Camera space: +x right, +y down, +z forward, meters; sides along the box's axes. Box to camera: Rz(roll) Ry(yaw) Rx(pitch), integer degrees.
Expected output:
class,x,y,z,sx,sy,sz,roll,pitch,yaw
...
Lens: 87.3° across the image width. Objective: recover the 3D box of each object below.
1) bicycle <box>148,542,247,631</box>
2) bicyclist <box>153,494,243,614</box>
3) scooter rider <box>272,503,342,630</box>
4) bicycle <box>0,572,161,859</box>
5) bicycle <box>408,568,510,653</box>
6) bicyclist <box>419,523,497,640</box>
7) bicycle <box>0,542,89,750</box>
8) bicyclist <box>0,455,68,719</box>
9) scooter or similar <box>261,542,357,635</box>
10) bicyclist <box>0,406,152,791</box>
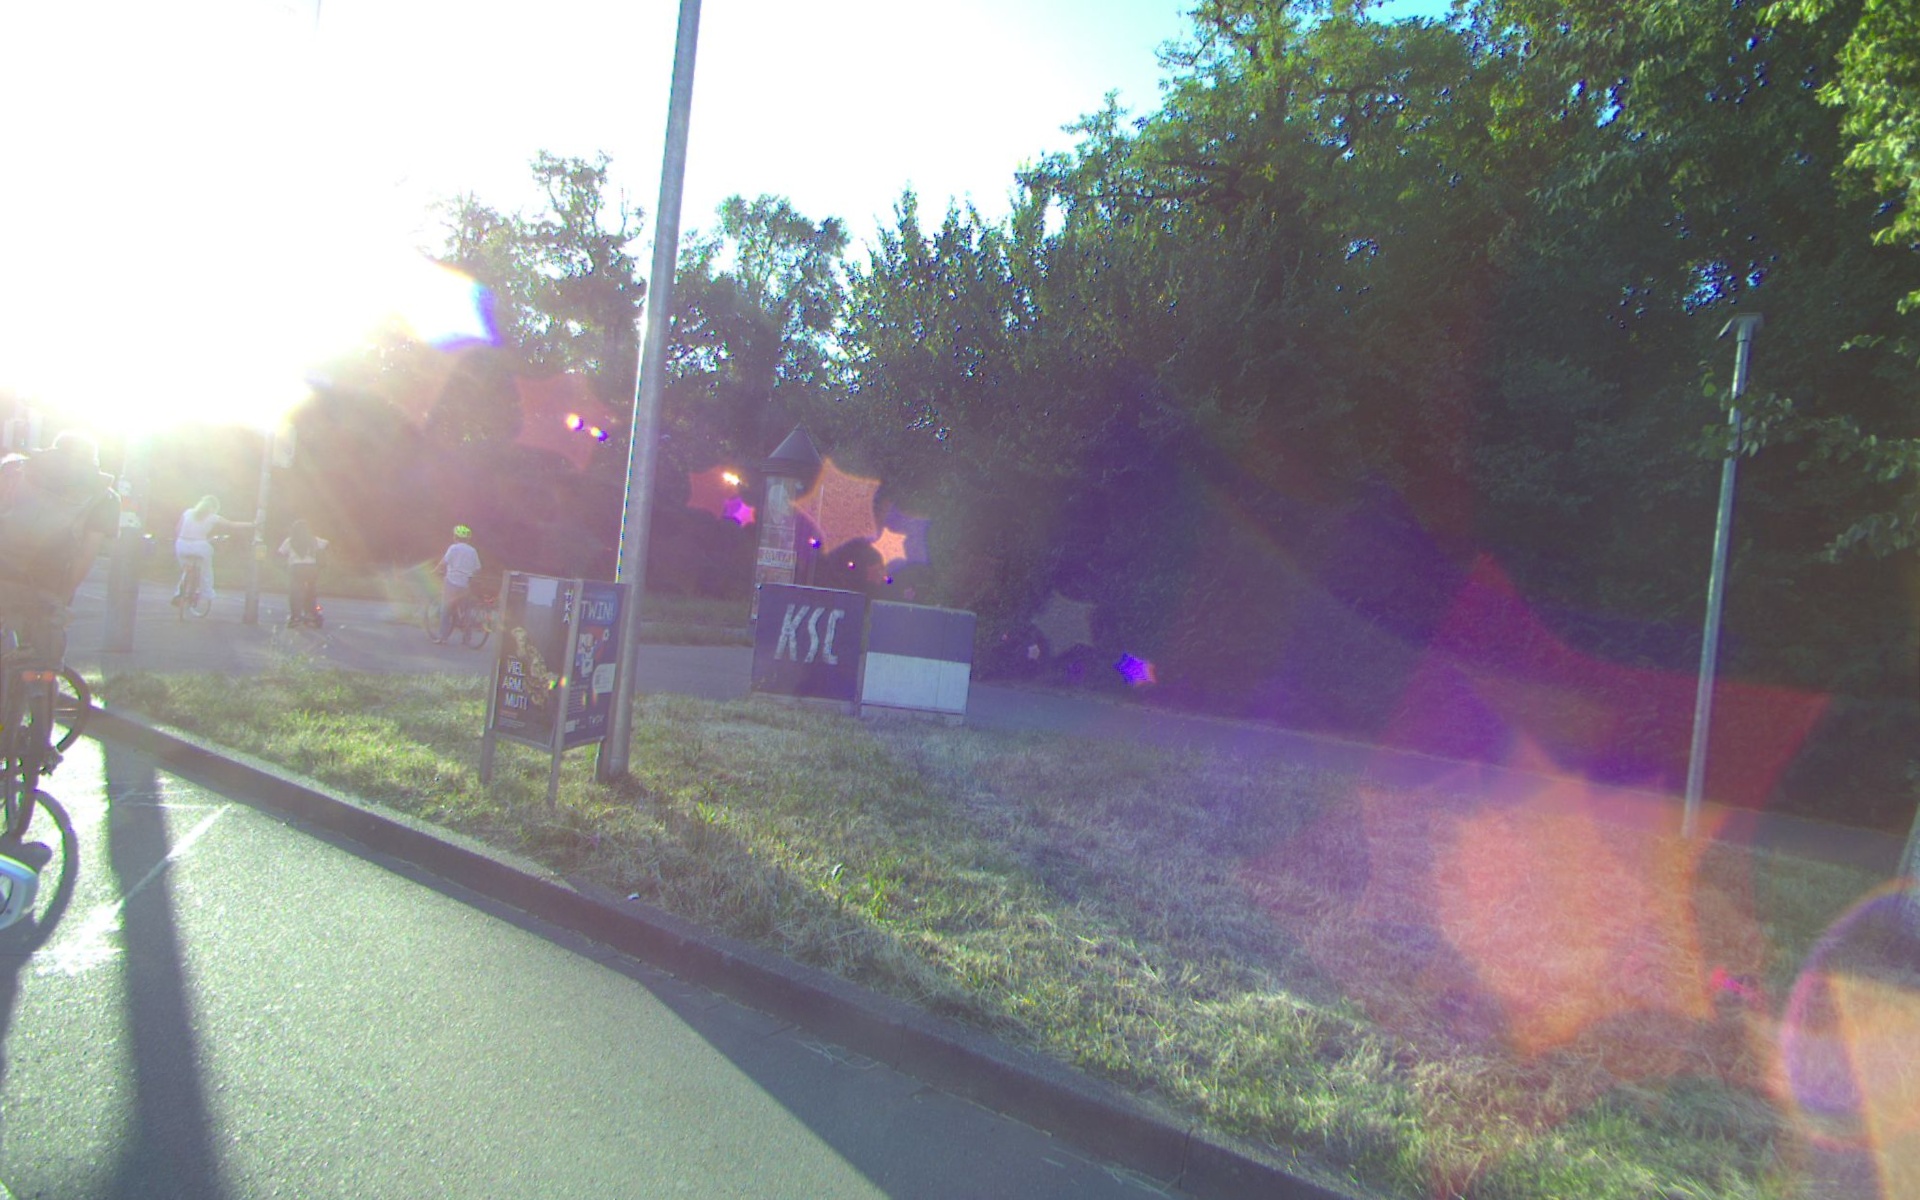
class,x,y,z,sx,sy,sz,roll,pitch,yaw
bicycle,-10.555,-0.208,13.896,0.769,1.019,1.990,7,-1,-45
bicyclist,-10.591,-0.640,13.985,0.845,1.536,0.758,7,0,45
scooter rider,-9.615,-0.487,14.816,0.497,1.788,0.566,6,0,33
bicycle,-4.502,0.453,4.730,1.798,1.075,0.698,6,-1,39
bicycle,-7.260,0.140,14.543,1.776,1.027,0.563,7,1,40
bicyclist,-7.288,-0.268,14.598,0.886,1.589,0.553,7,1,39
bicycle,-6.269,0.207,6.302,1.853,1.151,0.614,7,0,32
bicyclist,-6.235,-0.119,6.303,0.895,1.605,0.604,7,0,32
scooter or similar,-9.565,-0.180,14.763,1.399,1.204,0.562,6,0,33
bicyclist,-4.450,-0.018,4.738,0.786,1.687,0.698,7,-1,38
